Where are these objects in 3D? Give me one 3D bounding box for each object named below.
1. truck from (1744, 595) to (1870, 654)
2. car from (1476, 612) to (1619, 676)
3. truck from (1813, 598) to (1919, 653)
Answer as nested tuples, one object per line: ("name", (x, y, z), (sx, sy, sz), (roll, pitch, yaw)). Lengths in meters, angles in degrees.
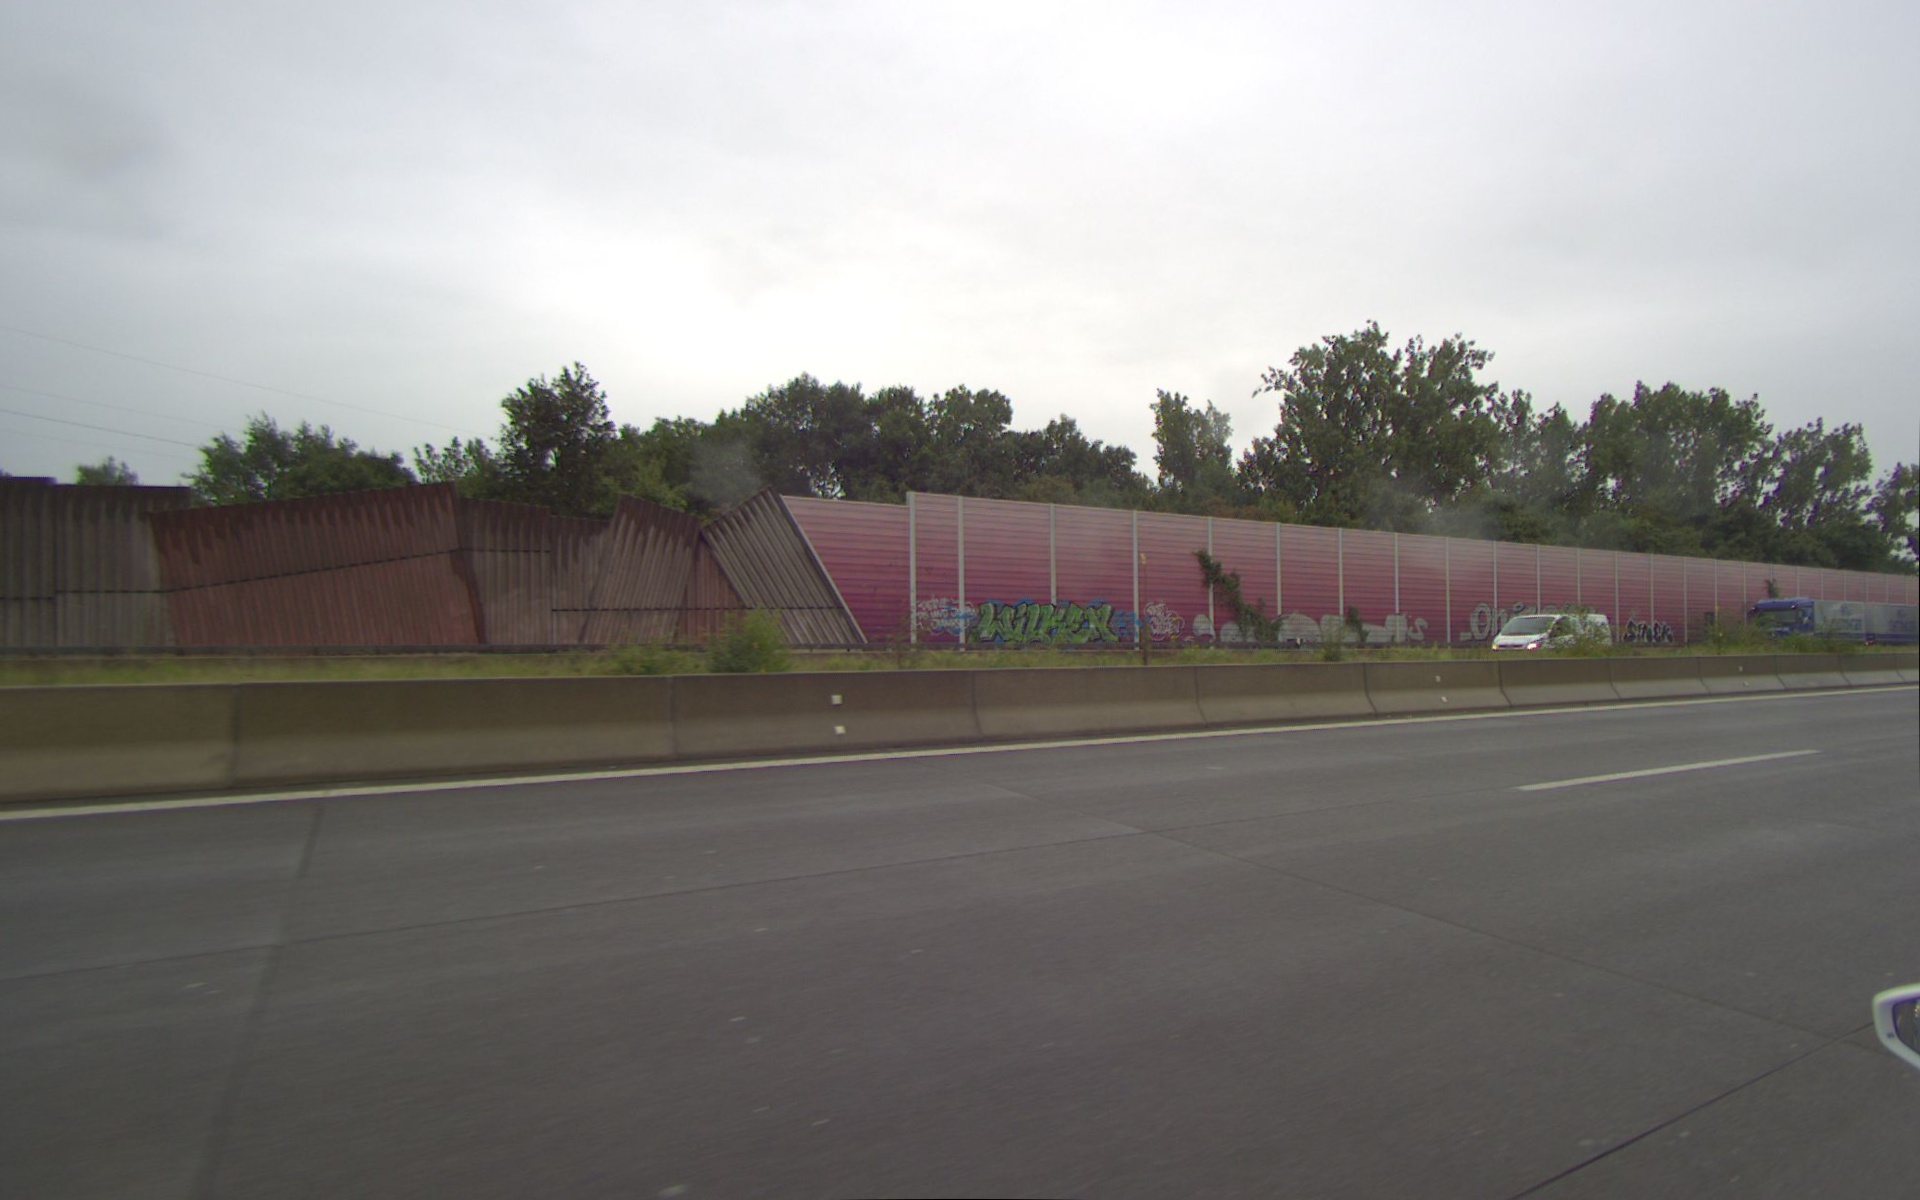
("truck", (52.128, 1.509, 61.701), (10.313, 3.395, 2.699), (1, 0, -31))
("car", (20.047, 1.461, 34.224), (5.072, 2.040, 1.984), (1, -1, -30))
("truck", (60.212, 1.685, 66.643), (8.600, 3.395, 2.957), (1, 0, -31))
